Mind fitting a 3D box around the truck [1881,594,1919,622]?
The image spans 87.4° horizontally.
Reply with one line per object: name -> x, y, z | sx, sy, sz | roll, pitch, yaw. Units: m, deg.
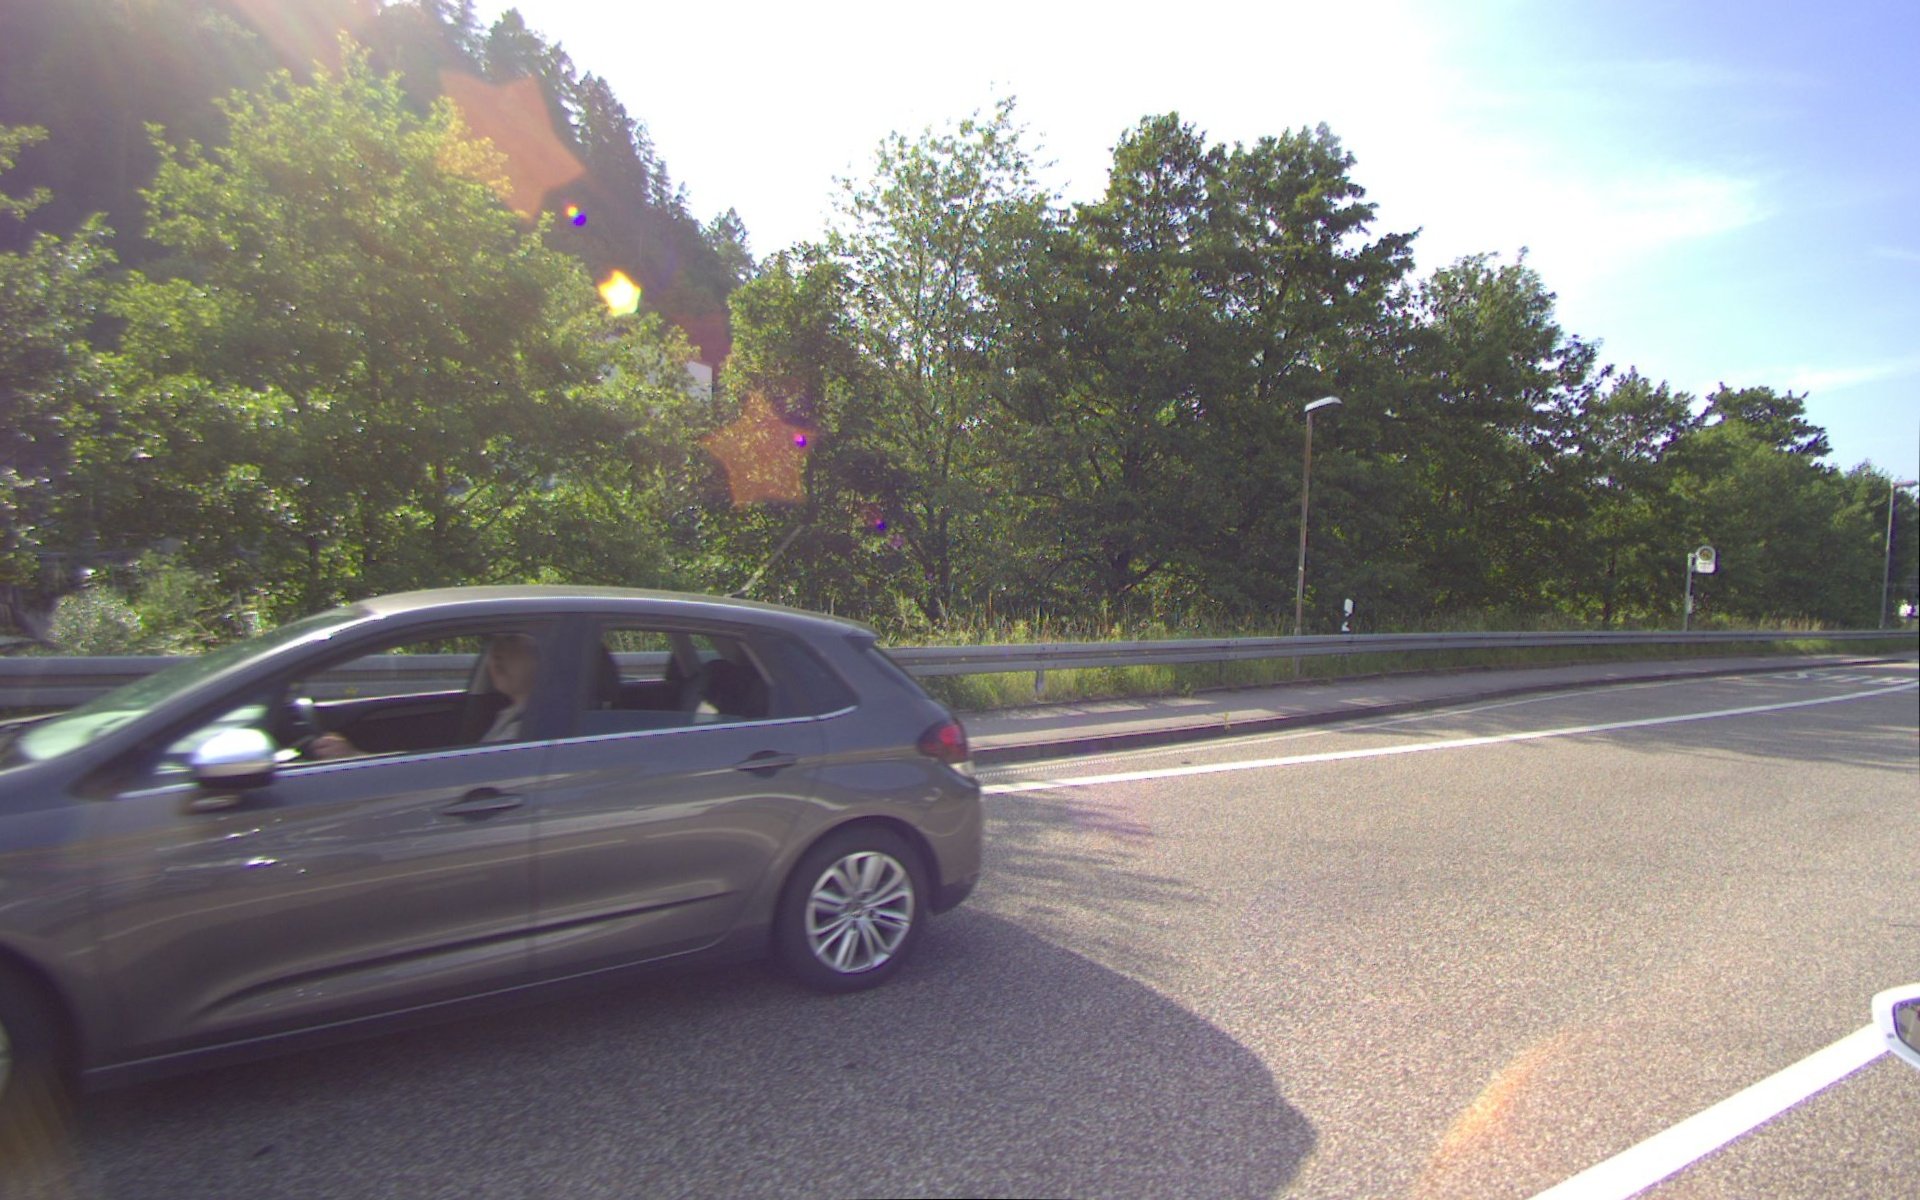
truck -> 114.140, 0.962, 120.854 | 2.667, 3.125, 6.107 | 4, 2, 21

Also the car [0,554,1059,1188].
car -> -1.763, 0.674, 3.841 | 3.957, 1.508, 1.880 | 2, -1, -33
